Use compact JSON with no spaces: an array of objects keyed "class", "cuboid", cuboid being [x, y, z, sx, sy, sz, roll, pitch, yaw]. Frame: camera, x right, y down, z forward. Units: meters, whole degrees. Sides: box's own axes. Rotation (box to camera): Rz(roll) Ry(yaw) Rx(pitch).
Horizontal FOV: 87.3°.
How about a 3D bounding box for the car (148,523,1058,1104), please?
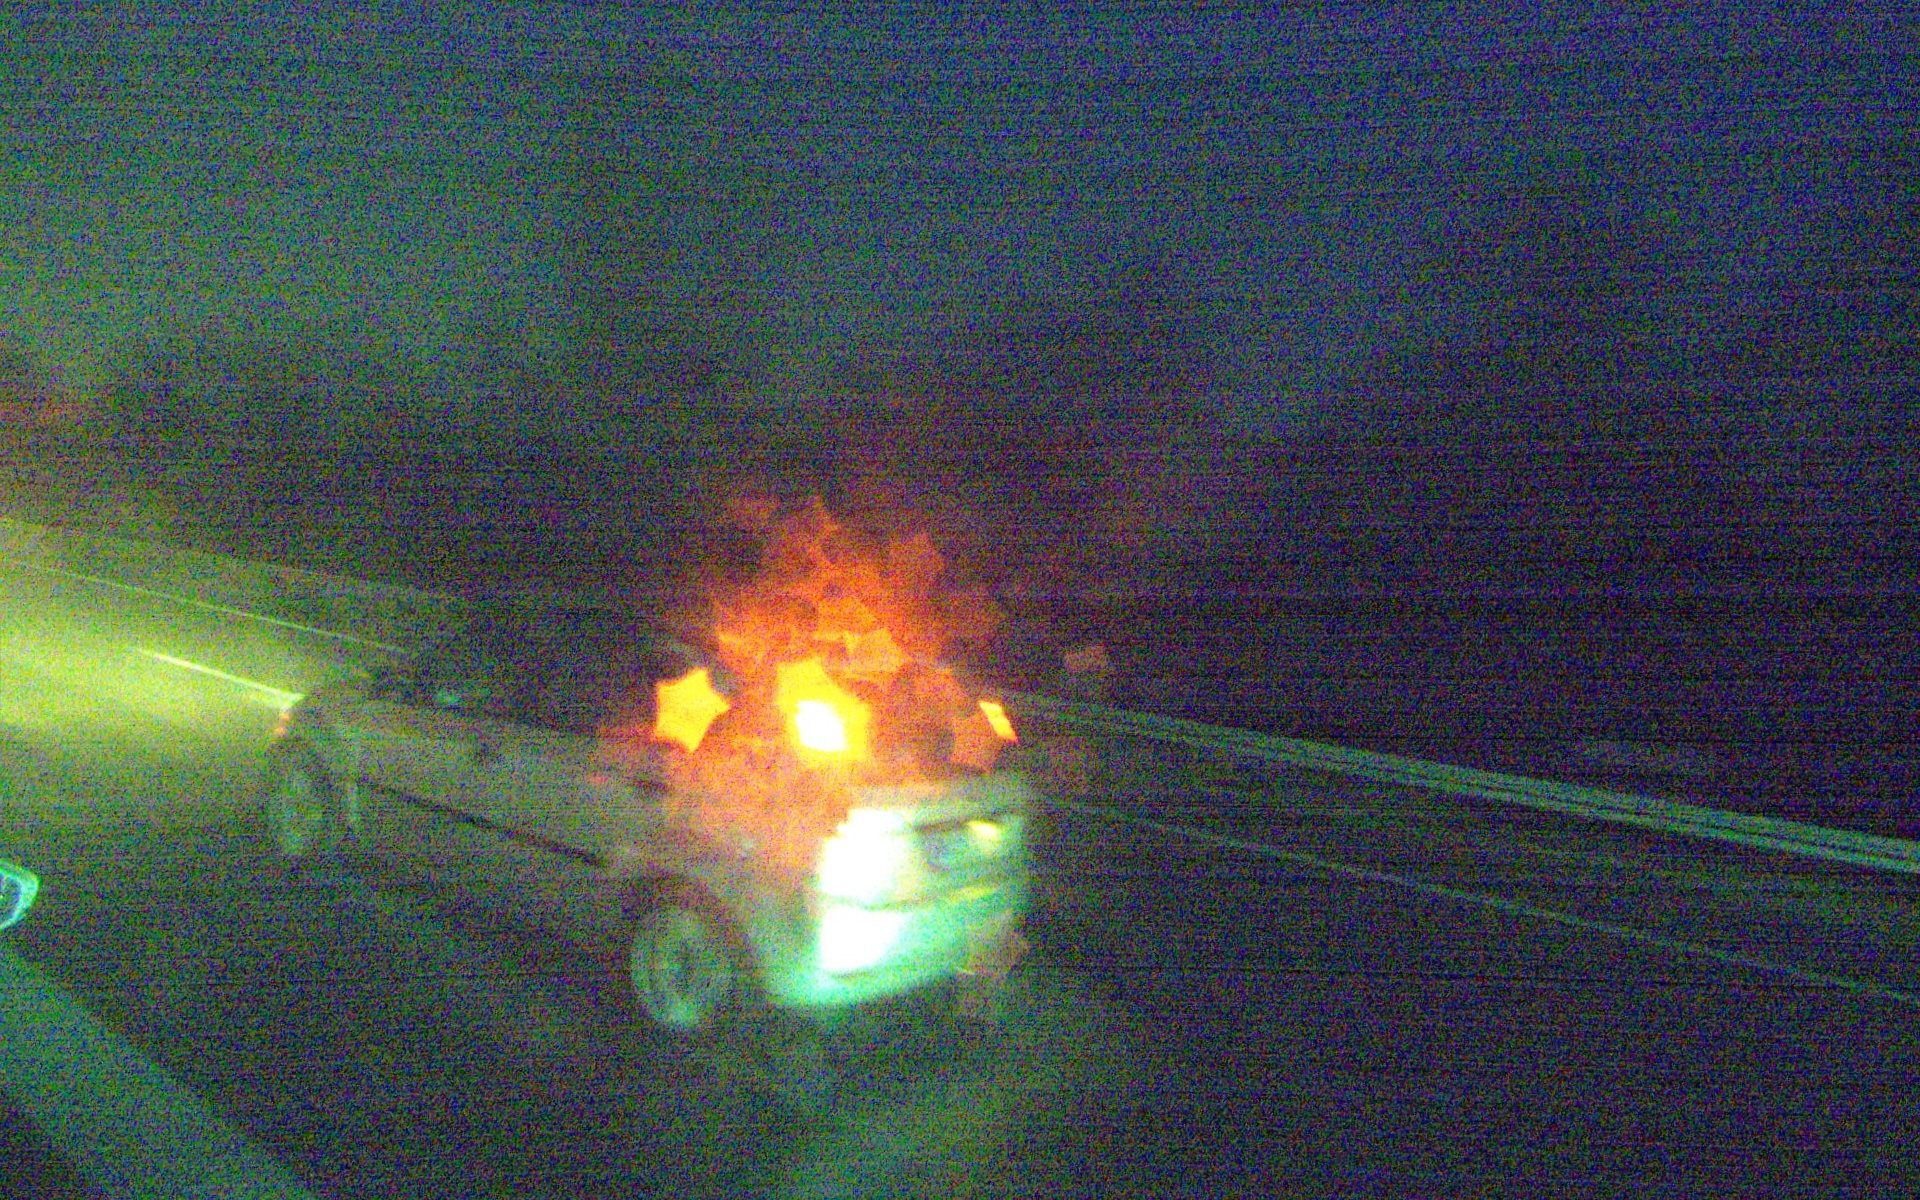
[{"class":"car","cuboid":[-1.846,0.632,4.806,4.125,1.474,1.773,7,-1,31]}]
